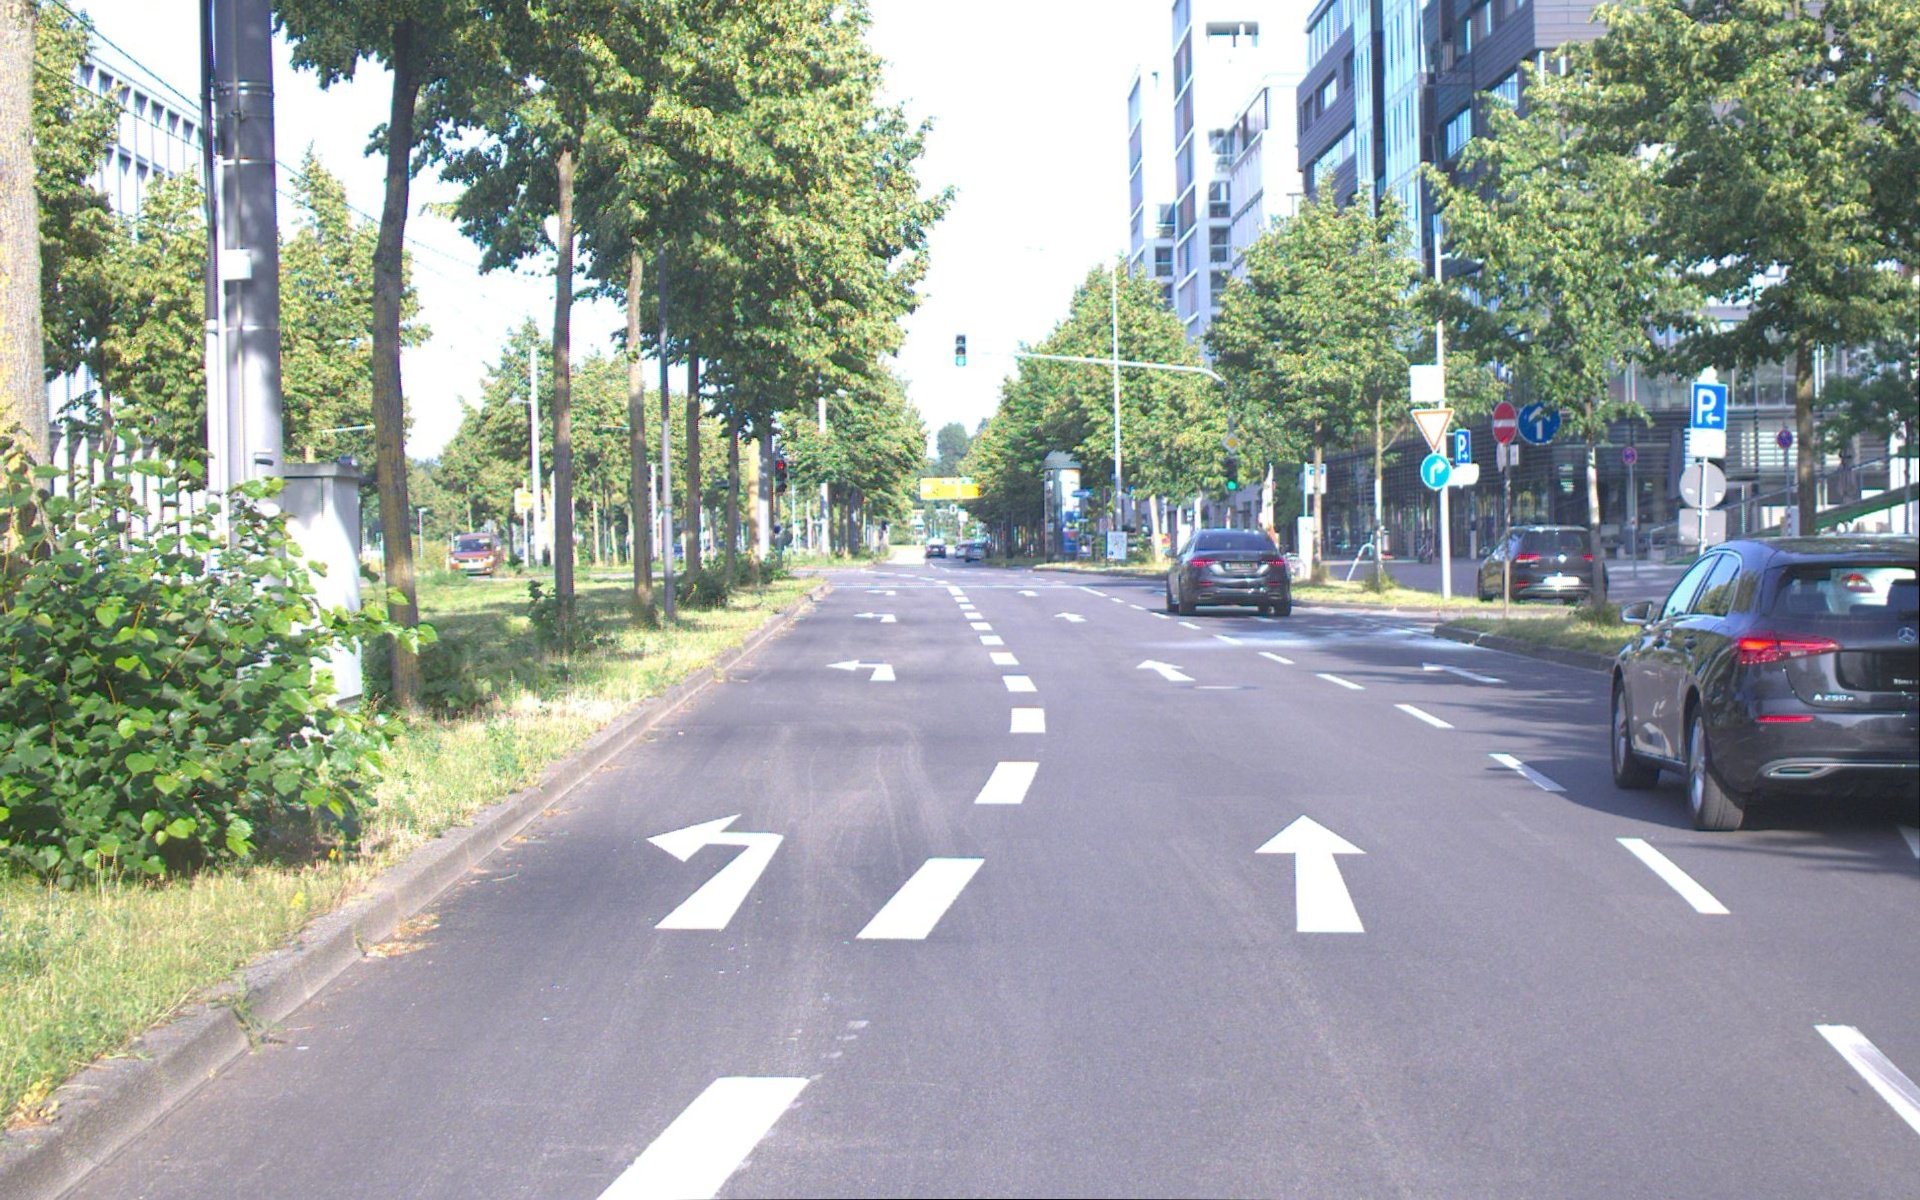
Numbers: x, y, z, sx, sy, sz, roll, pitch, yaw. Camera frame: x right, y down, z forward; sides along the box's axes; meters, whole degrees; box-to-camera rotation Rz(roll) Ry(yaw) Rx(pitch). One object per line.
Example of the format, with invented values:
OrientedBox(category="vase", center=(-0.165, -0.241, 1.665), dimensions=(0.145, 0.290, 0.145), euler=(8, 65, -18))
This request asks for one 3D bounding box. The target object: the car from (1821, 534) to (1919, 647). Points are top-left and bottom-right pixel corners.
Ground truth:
OrientedBox(category="car", center=(11.318, -0.114, 39.604), dimensions=(1.708, 1.238, 3.906), euler=(1, 1, -2))

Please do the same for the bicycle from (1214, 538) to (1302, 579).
OrientedBox(category="bicycle", center=(7.574, -1.058, 87.401), dimensions=(2.134, 1.009, 0.571), euler=(1, 1, -4))

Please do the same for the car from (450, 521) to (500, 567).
OrientedBox(category="car", center=(-19.035, -2.207, 135.008), dimensions=(1.684, 1.769, 3.883), euler=(1, 1, -4))

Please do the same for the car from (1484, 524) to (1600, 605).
OrientedBox(category="car", center=(10.266, -0.630, 60.811), dimensions=(1.607, 1.366, 4.157), euler=(1, 1, 4))

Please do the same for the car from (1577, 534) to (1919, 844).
OrientedBox(category="car", center=(4.461, 0.393, 17.828), dimensions=(1.774, 1.419, 3.961), euler=(1, 1, 0))

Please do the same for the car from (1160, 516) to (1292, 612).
OrientedBox(category="car", center=(4.397, -0.607, 57.276), dimensions=(1.859, 1.519, 3.786), euler=(1, 1, 0))
